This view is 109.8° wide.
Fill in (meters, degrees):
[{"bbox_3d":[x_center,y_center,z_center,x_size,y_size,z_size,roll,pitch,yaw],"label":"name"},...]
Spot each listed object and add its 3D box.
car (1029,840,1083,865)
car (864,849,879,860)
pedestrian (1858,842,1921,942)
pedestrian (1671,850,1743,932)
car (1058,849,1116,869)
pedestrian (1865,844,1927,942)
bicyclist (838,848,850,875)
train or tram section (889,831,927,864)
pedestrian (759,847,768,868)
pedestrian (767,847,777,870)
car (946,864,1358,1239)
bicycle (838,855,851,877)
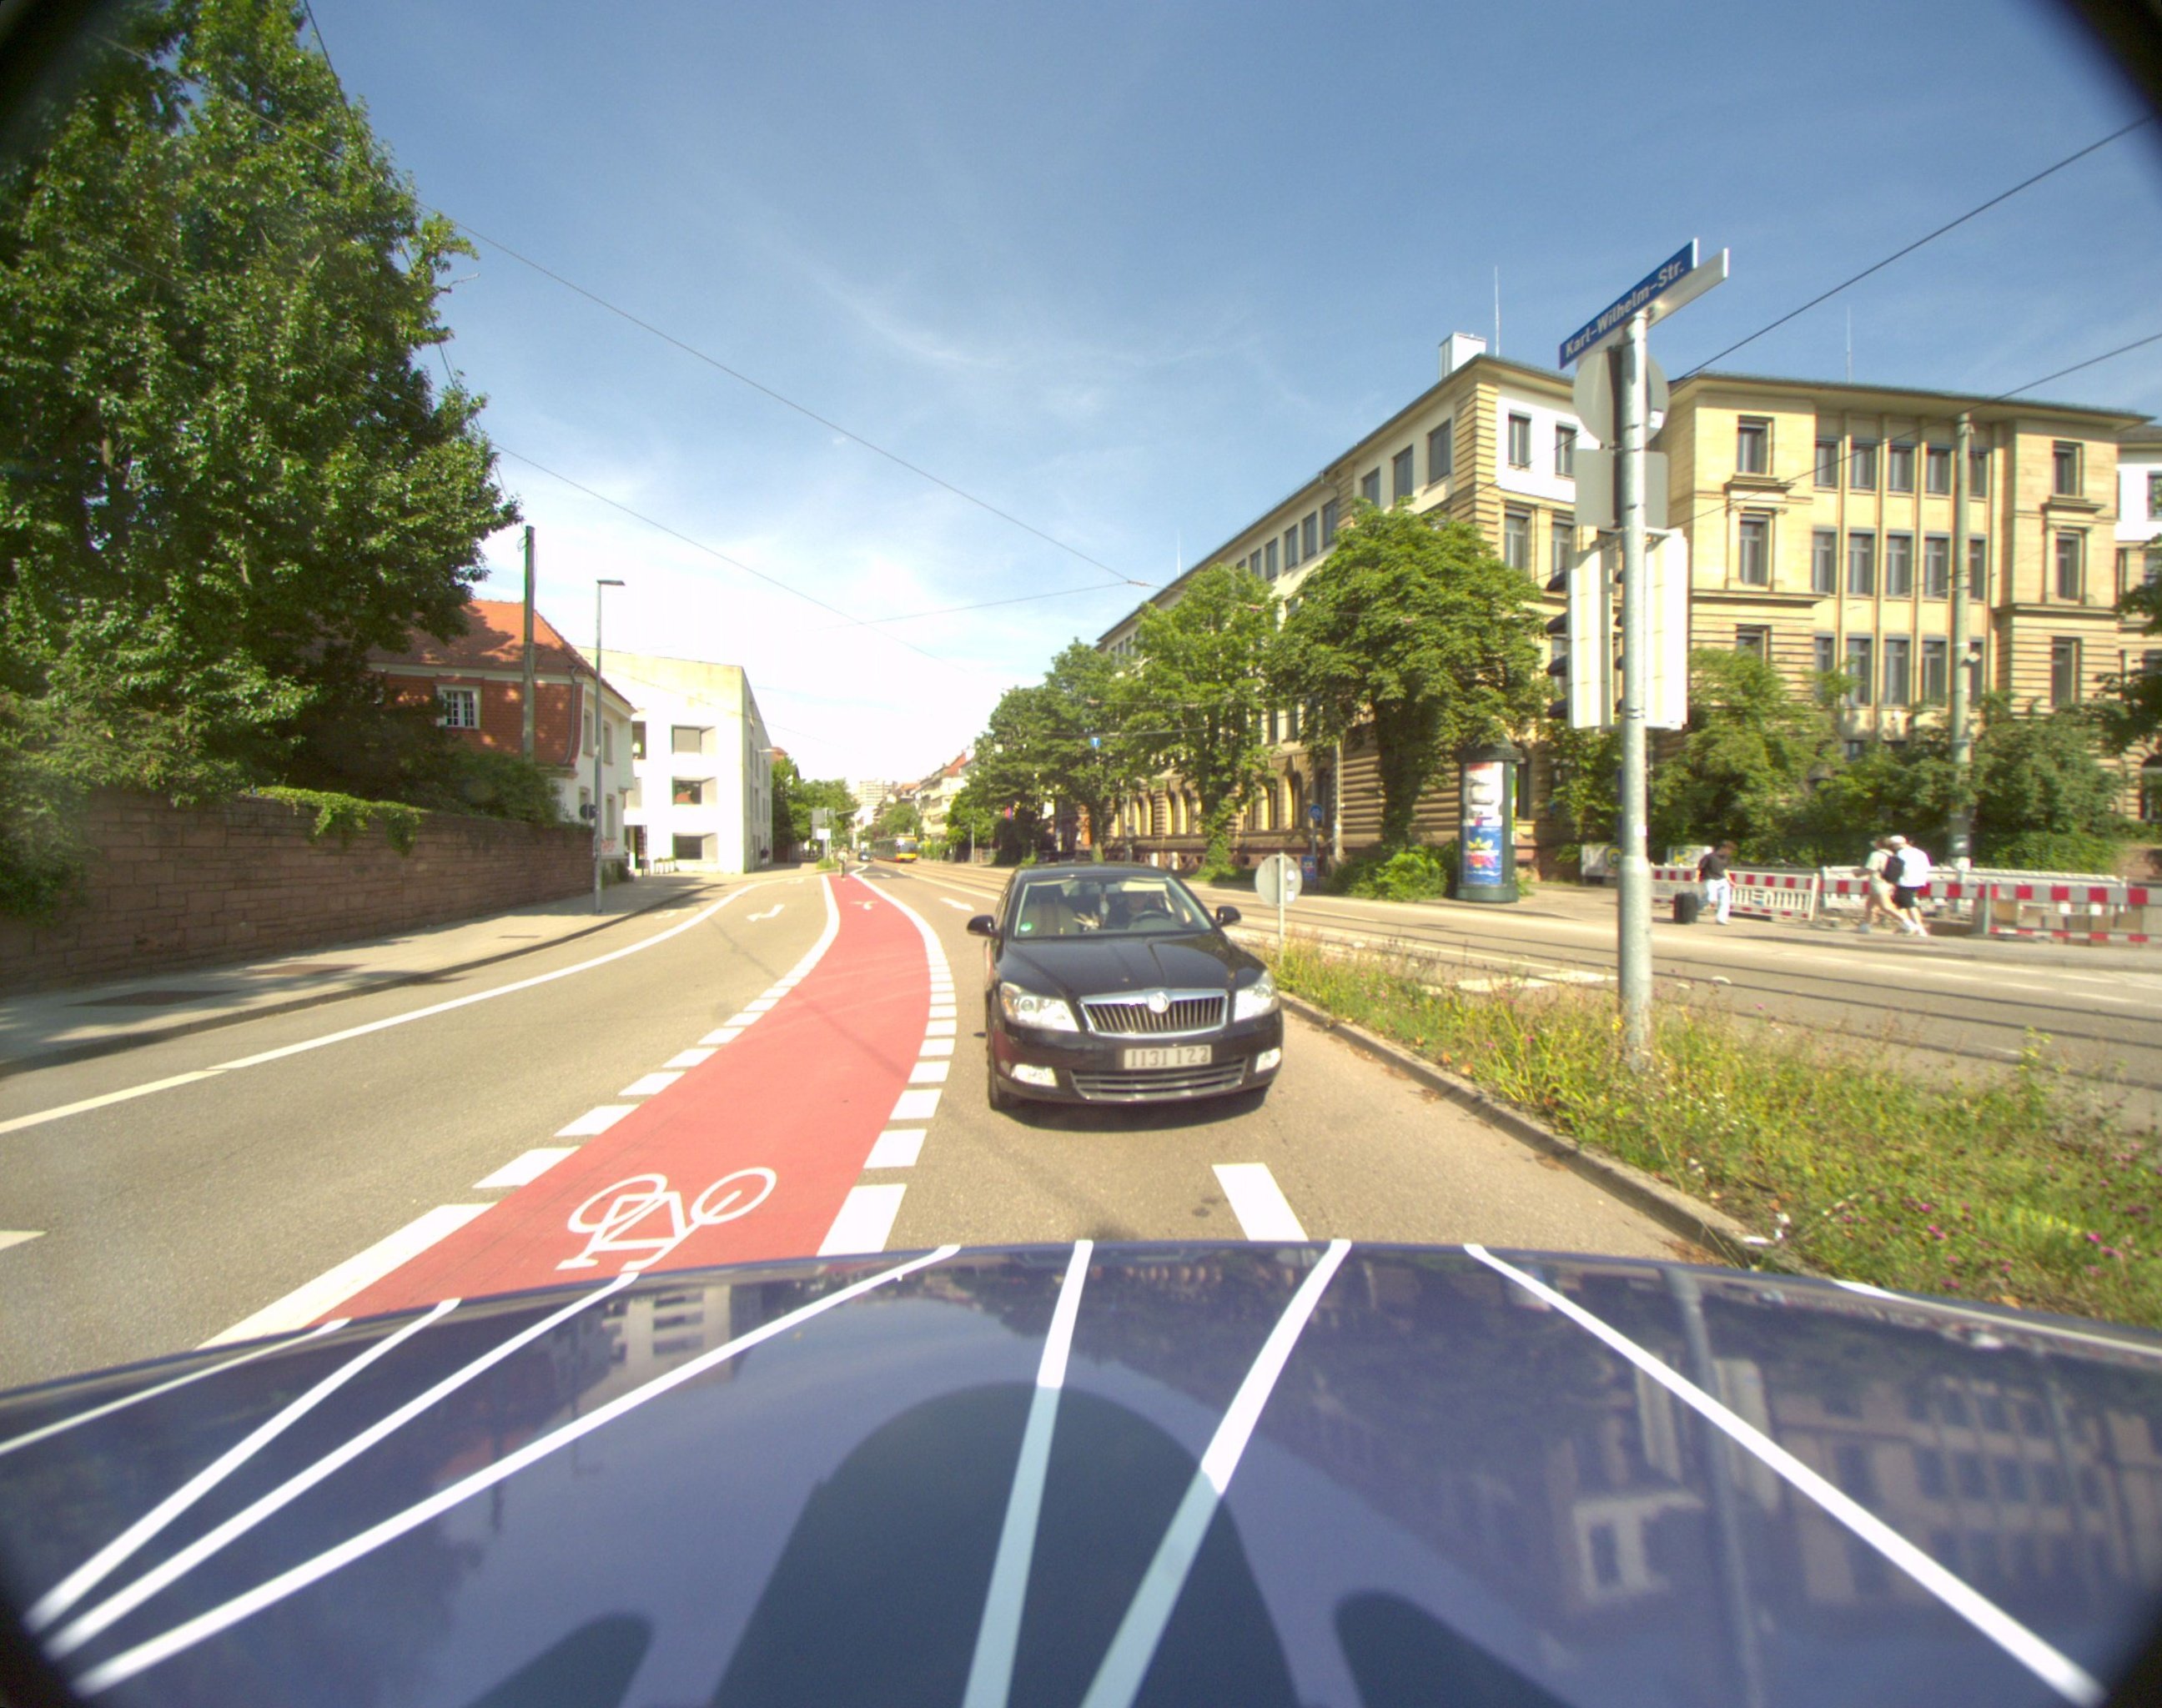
[{"bbox_3d":[-2.063,-0.100,62.456,4.004,2.002,1.996,0,1,-20],"label":"car"},{"bbox_3d":[-27.454,0.047,99.462,1.804,1.368,4.271,0,0,-14],"label":"car"},{"bbox_3d":[14.475,0.655,13.606,0.586,1.739,0.743,-1,1,-41],"label":"pedestrian"},{"bbox_3d":[12.941,0.739,15.740,0.938,1.646,0.845,0,1,24],"label":"pedestrian"},{"bbox_3d":[0.444,0.372,57.430,4.004,1.455,1.996,0,0,-20],"label":"car"},{"bbox_3d":[15.017,0.697,13.996,0.586,1.739,0.743,-1,1,-41],"label":"pedestrian"},{"bbox_3d":[-13.729,0.420,44.031,0.588,1.539,0.930,-3,1,-16],"label":"bicyclist"},{"bbox_3d":[-21.926,-0.792,95.455,3.219,3.838,14.562,0,0,-19],"label":"train or tram section"},{"bbox_3d":[-23.891,0.266,57.116,0.550,1.559,0.930,0,1,-19],"label":"pedestrian"},{"bbox_3d":[-23.384,0.351,57.440,0.651,1.697,0.710,0,1,-19],"label":"pedestrian"},{"bbox_3d":[0.088,0.896,5.802,1.865,1.510,4.824,0,1,-6],"label":"car"},{"bbox_3d":[-13.720,0.698,44.102,0.686,1.215,2.183,0,0,-17],"label":"bicycle"}]
